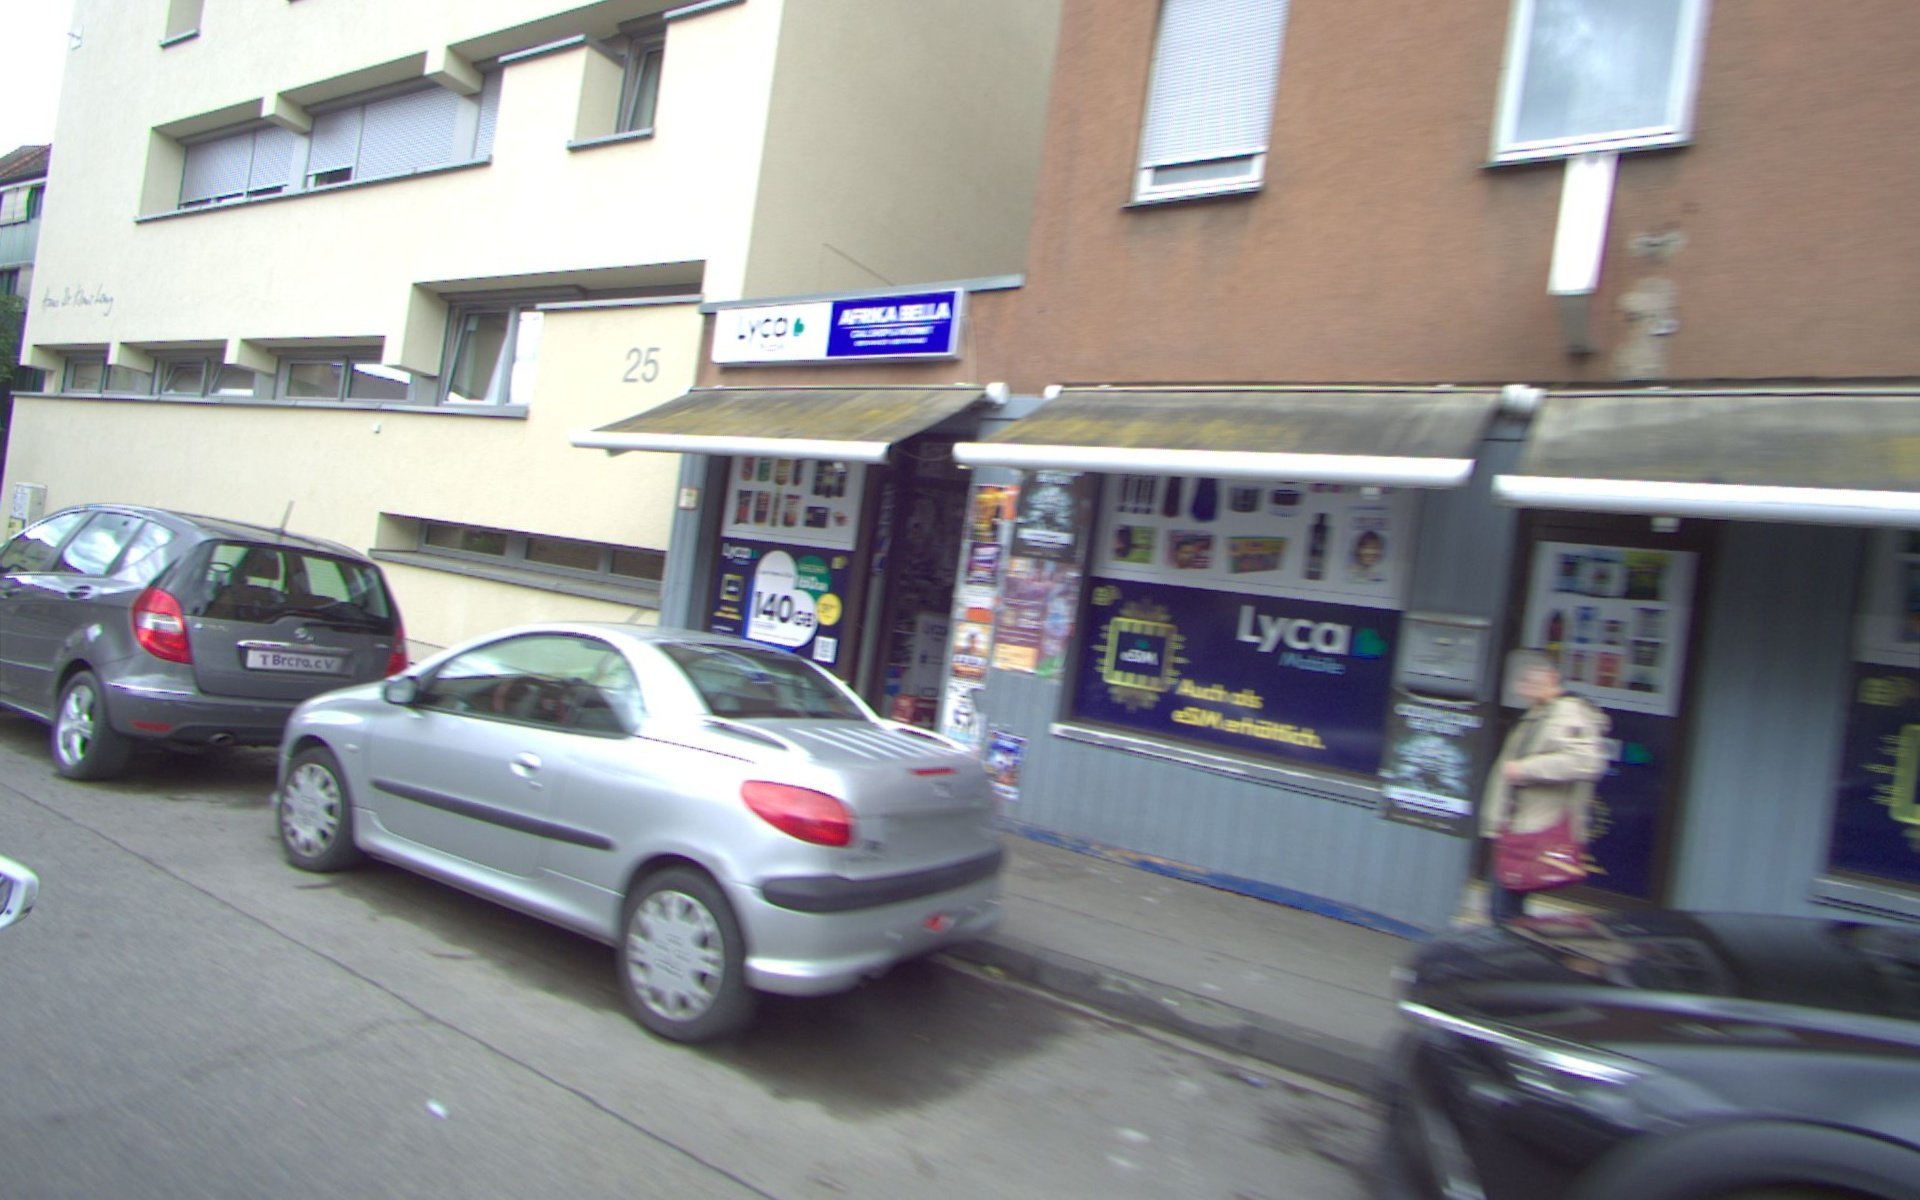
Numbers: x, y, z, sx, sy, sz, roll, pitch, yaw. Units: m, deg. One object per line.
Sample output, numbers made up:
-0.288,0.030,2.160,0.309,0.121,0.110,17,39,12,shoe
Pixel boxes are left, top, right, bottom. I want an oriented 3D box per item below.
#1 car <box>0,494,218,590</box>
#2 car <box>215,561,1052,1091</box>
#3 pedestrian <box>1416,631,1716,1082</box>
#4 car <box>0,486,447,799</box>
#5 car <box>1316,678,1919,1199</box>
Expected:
-20.870,-1.403,24.115,1.825,1.591,4.514,6,-3,38,car
-1.659,0.740,4.751,3.748,1.348,1.554,7,-2,31,car
2.641,1.038,4.453,0.874,1.669,0.702,8,1,31,pedestrian
-5.579,0.167,7.005,3.722,1.578,1.715,7,-2,31,car
3.043,1.241,2.013,4.137,1.535,1.606,7,-2,29,car
